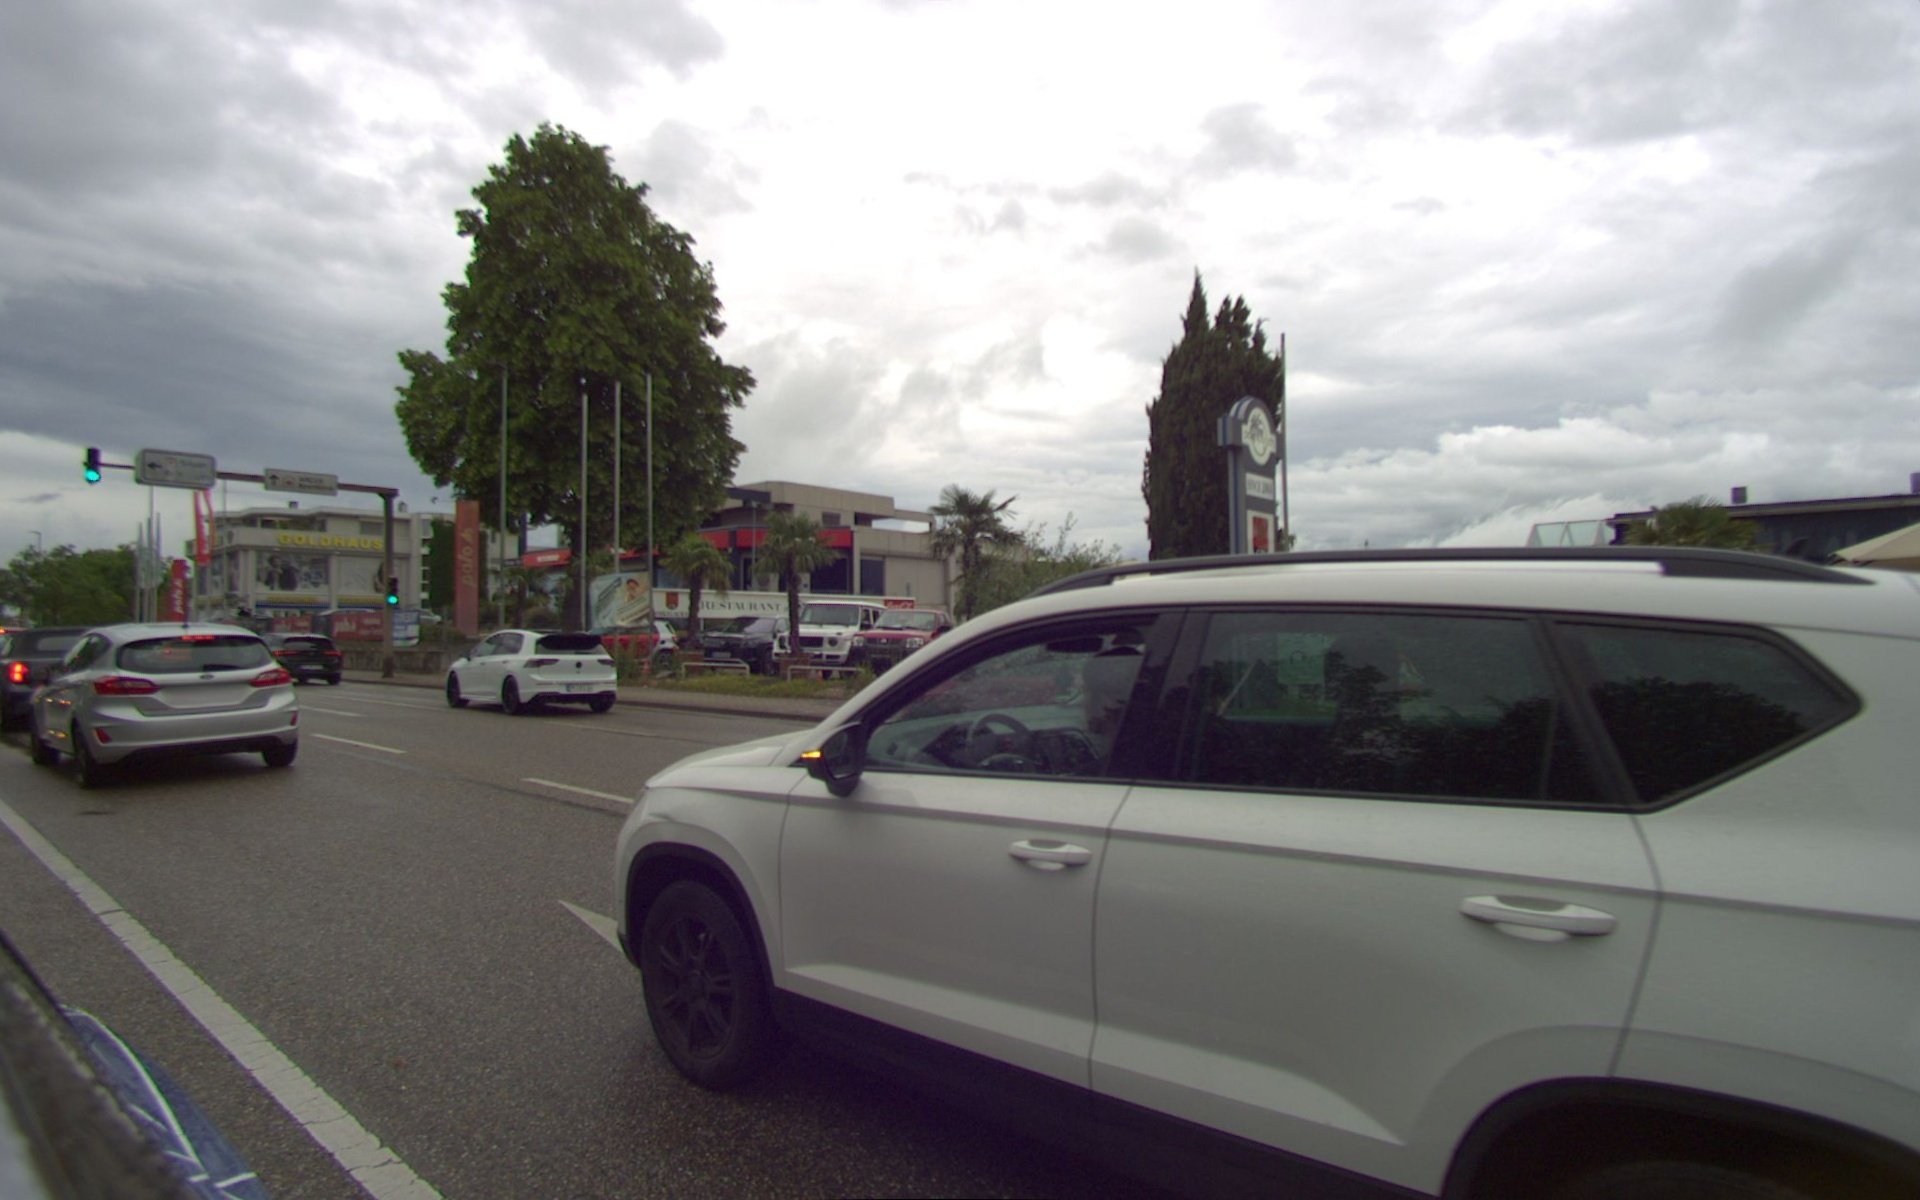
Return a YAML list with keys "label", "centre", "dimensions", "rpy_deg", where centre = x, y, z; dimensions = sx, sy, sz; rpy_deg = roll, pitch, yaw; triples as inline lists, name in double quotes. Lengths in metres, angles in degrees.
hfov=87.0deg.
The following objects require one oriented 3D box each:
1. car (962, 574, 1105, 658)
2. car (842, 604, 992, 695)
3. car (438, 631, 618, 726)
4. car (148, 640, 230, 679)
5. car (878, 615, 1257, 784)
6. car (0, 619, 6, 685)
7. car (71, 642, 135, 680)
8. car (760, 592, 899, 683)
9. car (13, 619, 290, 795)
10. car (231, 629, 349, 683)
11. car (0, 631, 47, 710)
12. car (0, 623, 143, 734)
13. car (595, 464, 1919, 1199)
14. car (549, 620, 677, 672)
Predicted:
- label: "car"
  centre: [1.641, 0.406, 20.937]
  dimensions: [1.983, 1.475, 4.342]
  rpy_deg: [2, -3, 17]
- label: "car"
  centre: [-0.792, 1.113, 22.550]
  dimensions: [1.981, 1.715, 4.990]
  rpy_deg: [2, -3, 14]
- label: "car"
  centre: [-7.782, 1.296, 18.043]
  dimensions: [1.618, 1.489, 4.047]
  rpy_deg: [2, -2, -44]
- label: "car"
  centre: [-28.036, 2.150, 36.757]
  dimensions: [3.944, 1.342, 1.605]
  rpy_deg: [-3, -4, 41]
- label: "car"
  centre: [1.065, 0.981, 11.192]
  dimensions: [3.970, 1.545, 1.620]
  rpy_deg: [-1, -4, 42]
- label: "car"
  centre: [-26.191, 1.364, 26.161]
  dimensions: [4.295, 1.662, 1.820]
  rpy_deg: [-3, -3, 41]
- label: "car"
  centre: [-38.707, 2.745, 45.678]
  dimensions: [3.999, 1.630, 1.658]
  rpy_deg: [-3, -4, 42]
- label: "car"
  centre: [-3.076, 0.980, 24.950]
  dimensions: [1.980, 2.029, 4.380]
  rpy_deg: [-1, -4, 14]
- label: "car"
  centre: [-8.421, 0.949, 10.421]
  dimensions: [3.947, 1.452, 1.585]
  rpy_deg: [-1, -1, 41]
- label: "car"
  centre: [-18.955, 1.575, 28.553]
  dimensions: [4.402, 1.410, 1.585]
  rpy_deg: [-3, -5, 40]
- label: "car"
  centre: [-19.774, 1.372, 20.374]
  dimensions: [4.143, 1.445, 1.615]
  rpy_deg: [-1, -2, 42]
- label: "car"
  centre: [-13.846, 1.133, 15.385]
  dimensions: [3.947, 1.452, 1.585]
  rpy_deg: [-3, -2, 41]
- label: "car"
  centre: [0.981, 0.644, 2.662]
  dimensions: [4.235, 1.593, 1.769]
  rpy_deg: [-1, -1, 40]
- label: "car"
  centre: [-10.514, 1.402, 30.770]
  dimensions: [3.556, 1.515, 1.671]
  rpy_deg: [1, -2, -19]
